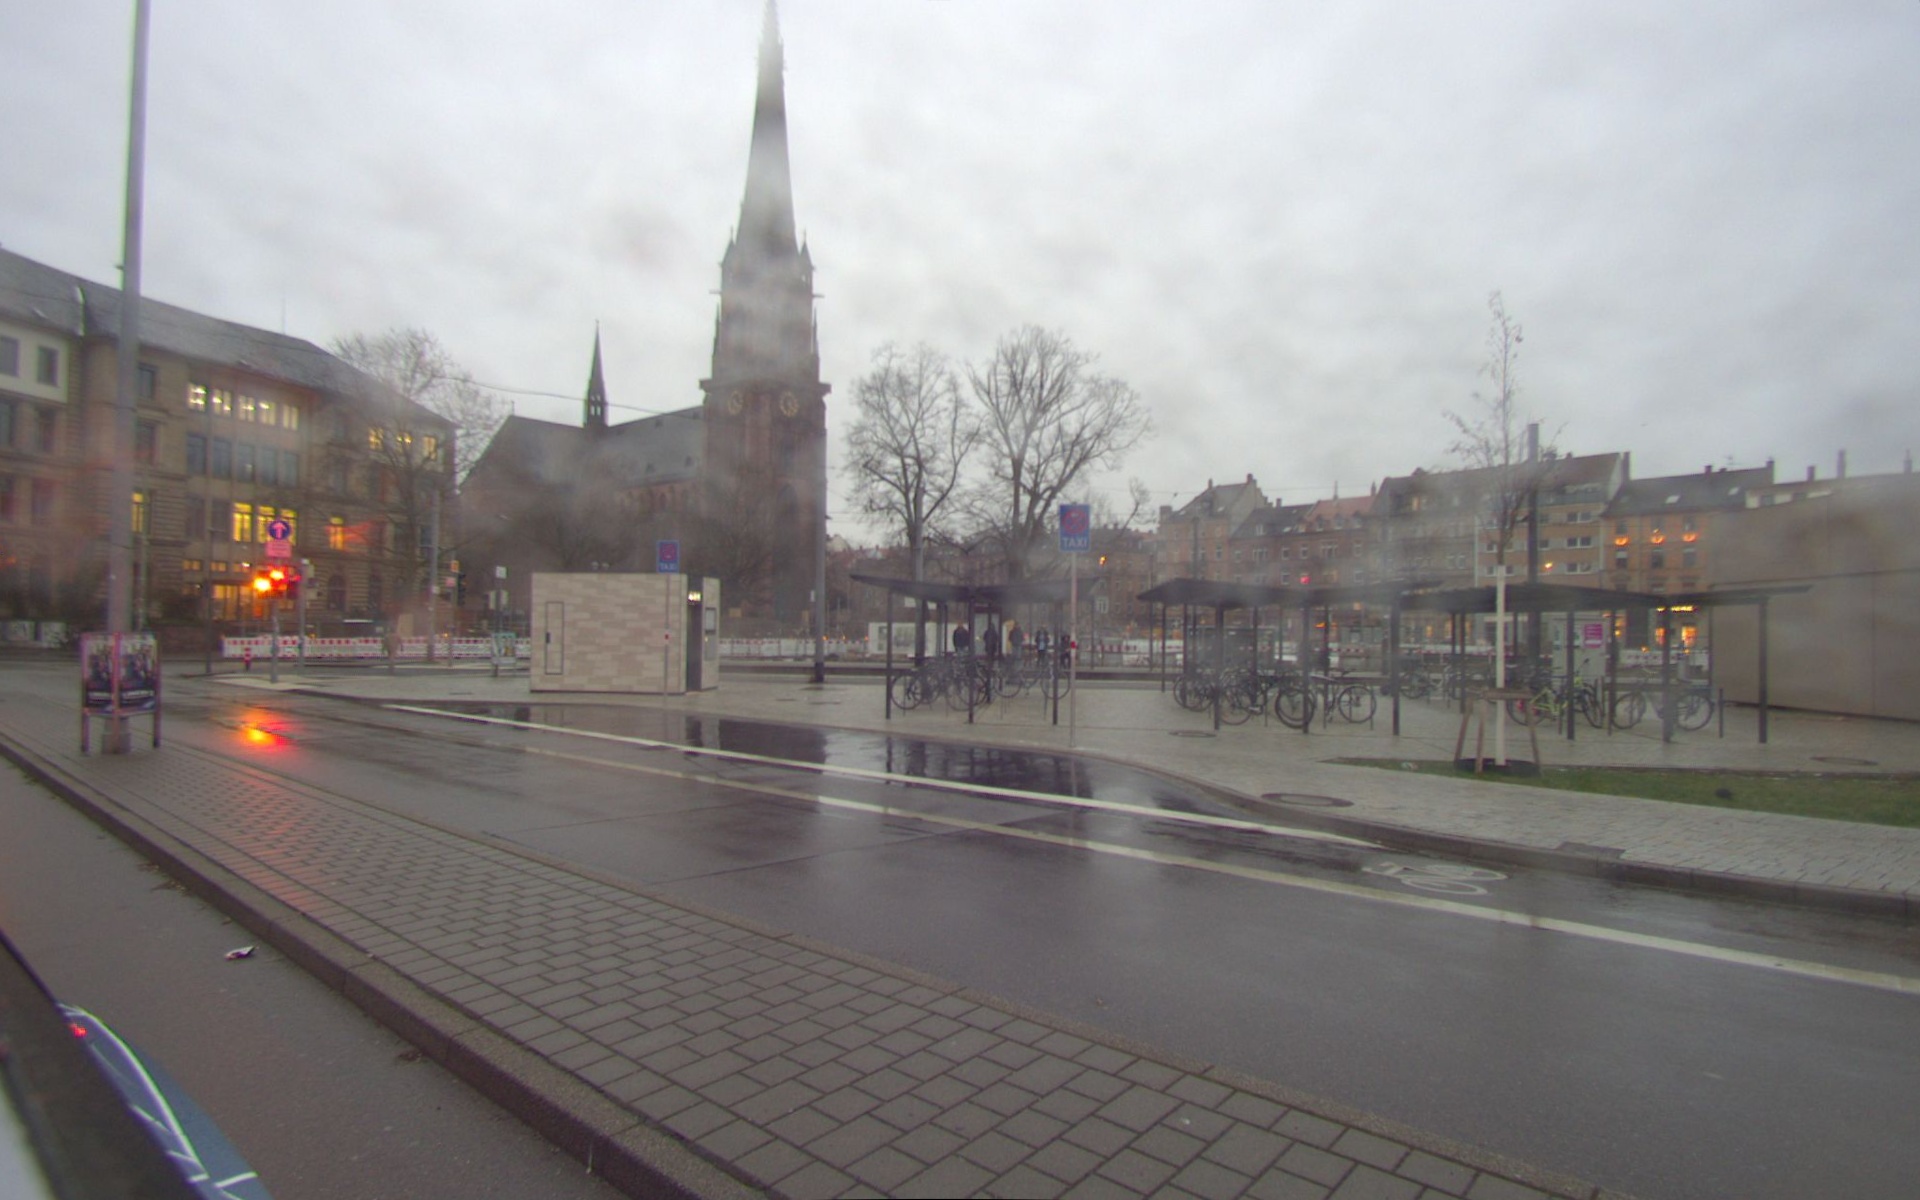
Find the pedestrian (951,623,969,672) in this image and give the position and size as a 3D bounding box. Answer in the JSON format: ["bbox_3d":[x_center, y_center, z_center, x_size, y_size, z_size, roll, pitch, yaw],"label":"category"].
[{"bbox_3d":[-0.001,1.809,38.575,0.619,1.808,0.672,-1,0,-1],"label":"pedestrian"}]

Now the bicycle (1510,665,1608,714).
[{"bbox_3d":[12.895,1.926,21.827,1.751,0.963,0.473,1,-1,11],"label":"bicycle"}]

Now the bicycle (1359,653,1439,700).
[{"bbox_3d":[11.179,1.931,25.799,1.780,1.116,0.473,1,-1,11],"label":"bicycle"}]

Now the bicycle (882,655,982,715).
[{"bbox_3d":[-0.543,1.659,19.864,1.905,1.078,0.473,1,-1,11],"label":"bicycle"}]

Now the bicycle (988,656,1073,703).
[{"bbox_3d":[1.634,1.827,23.420,1.905,0.993,0.473,1,-1,11],"label":"bicycle"}]

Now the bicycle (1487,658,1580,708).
[{"bbox_3d":[13.248,1.915,23.414,1.810,1.081,0.474,1,-1,8],"label":"bicycle"}]

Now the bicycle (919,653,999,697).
[{"bbox_3d":[-0.020,1.835,24.866,1.905,0.993,0.473,1,-1,11],"label":"bicycle"}]

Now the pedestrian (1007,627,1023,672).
[{"bbox_3d":[2.063,1.863,38.110,0.543,1.648,0.571,-1,0,-1],"label":"pedestrian"}]

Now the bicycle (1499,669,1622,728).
[{"bbox_3d":[11.121,1.820,18.781,1.905,0.983,0.473,1,-1,11],"label":"bicycle"}]

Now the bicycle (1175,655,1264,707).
[{"bbox_3d":[5.844,1.814,22.846,1.905,1.078,0.473,1,-1,11],"label":"bicycle"}]

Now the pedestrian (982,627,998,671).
[{"bbox_3d":[1.143,1.866,38.648,0.556,1.664,0.540,-1,0,-1],"label":"pedestrian"}]

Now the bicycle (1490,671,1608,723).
[{"bbox_3d":[11.362,1.868,19.568,1.905,0.898,0.473,1,-1,11],"label":"bicycle"}]

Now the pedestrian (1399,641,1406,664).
[{"bbox_3d":[39.286,4.647,89.798,0.436,2.029,0.414,3,-4,-41],"label":"pedestrian"}]

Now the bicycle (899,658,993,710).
[{"bbox_3d":[-0.293,1.739,21.101,1.905,0.993,0.473,1,-1,11],"label":"bicycle"}]

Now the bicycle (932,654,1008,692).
[{"bbox_3d":[0.266,1.874,26.123,1.905,0.917,0.473,1,-1,11],"label":"bicycle"}]

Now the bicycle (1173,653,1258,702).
[{"bbox_3d":[6.059,1.835,24.037,1.905,1.078,0.473,1,-1,11],"label":"bicycle"}]

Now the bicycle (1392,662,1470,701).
[{"bbox_3d":[11.616,1.998,24.988,1.672,0.898,0.474,1,-1,5],"label":"bicycle"}]

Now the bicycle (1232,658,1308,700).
[{"bbox_3d":[7.657,1.948,25.067,1.729,0.946,0.474,1,-1,7],"label":"bicycle"}]

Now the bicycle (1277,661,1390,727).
[{"bbox_3d":[6.940,1.741,18.863,1.905,1.129,0.473,1,-1,11],"label":"bicycle"}]

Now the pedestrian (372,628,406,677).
[{"bbox_3d":[-20.648,1.882,36.607,0.760,1.673,1.211,-1,0,-14],"label":"pedestrian"}]

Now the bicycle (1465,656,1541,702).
[{"bbox_3d":[13.227,1.923,24.661,1.551,1.044,0.521,1,-1,1],"label":"bicycle"}]

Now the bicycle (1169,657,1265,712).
[{"bbox_3d":[5.426,1.779,21.398,1.899,1.078,0.474,1,-1,2],"label":"bicycle"}]

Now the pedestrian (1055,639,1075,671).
[{"bbox_3d":[3.975,2.079,38.321,0.610,1.165,0.806,-1,0,-1],"label":"pedestrian"}]

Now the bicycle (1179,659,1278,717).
[{"bbox_3d":[5.427,1.780,20.544,1.905,1.078,0.473,1,-1,11],"label":"bicycle"}]

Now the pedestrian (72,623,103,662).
[{"bbox_3d":[-44.251,2.162,51.322,0.962,1.915,0.672,1,-2,8],"label":"pedestrian"}]

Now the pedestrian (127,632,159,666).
[{"bbox_3d":[-42.565,2.544,52.742,0.918,1.737,0.824,0,-3,11],"label":"pedestrian"}]

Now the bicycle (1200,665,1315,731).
[{"bbox_3d":[5.251,1.725,17.953,1.905,1.078,0.473,1,-1,11],"label":"bicycle"}]

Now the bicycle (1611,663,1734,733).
[{"bbox_3d":[12.684,1.730,18.043,1.731,1.165,0.617,1,-1,1],"label":"bicycle"}]

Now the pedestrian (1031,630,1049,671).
[{"bbox_3d":[3.028,1.918,38.329,0.580,1.513,0.675,-1,0,-1],"label":"pedestrian"}]
